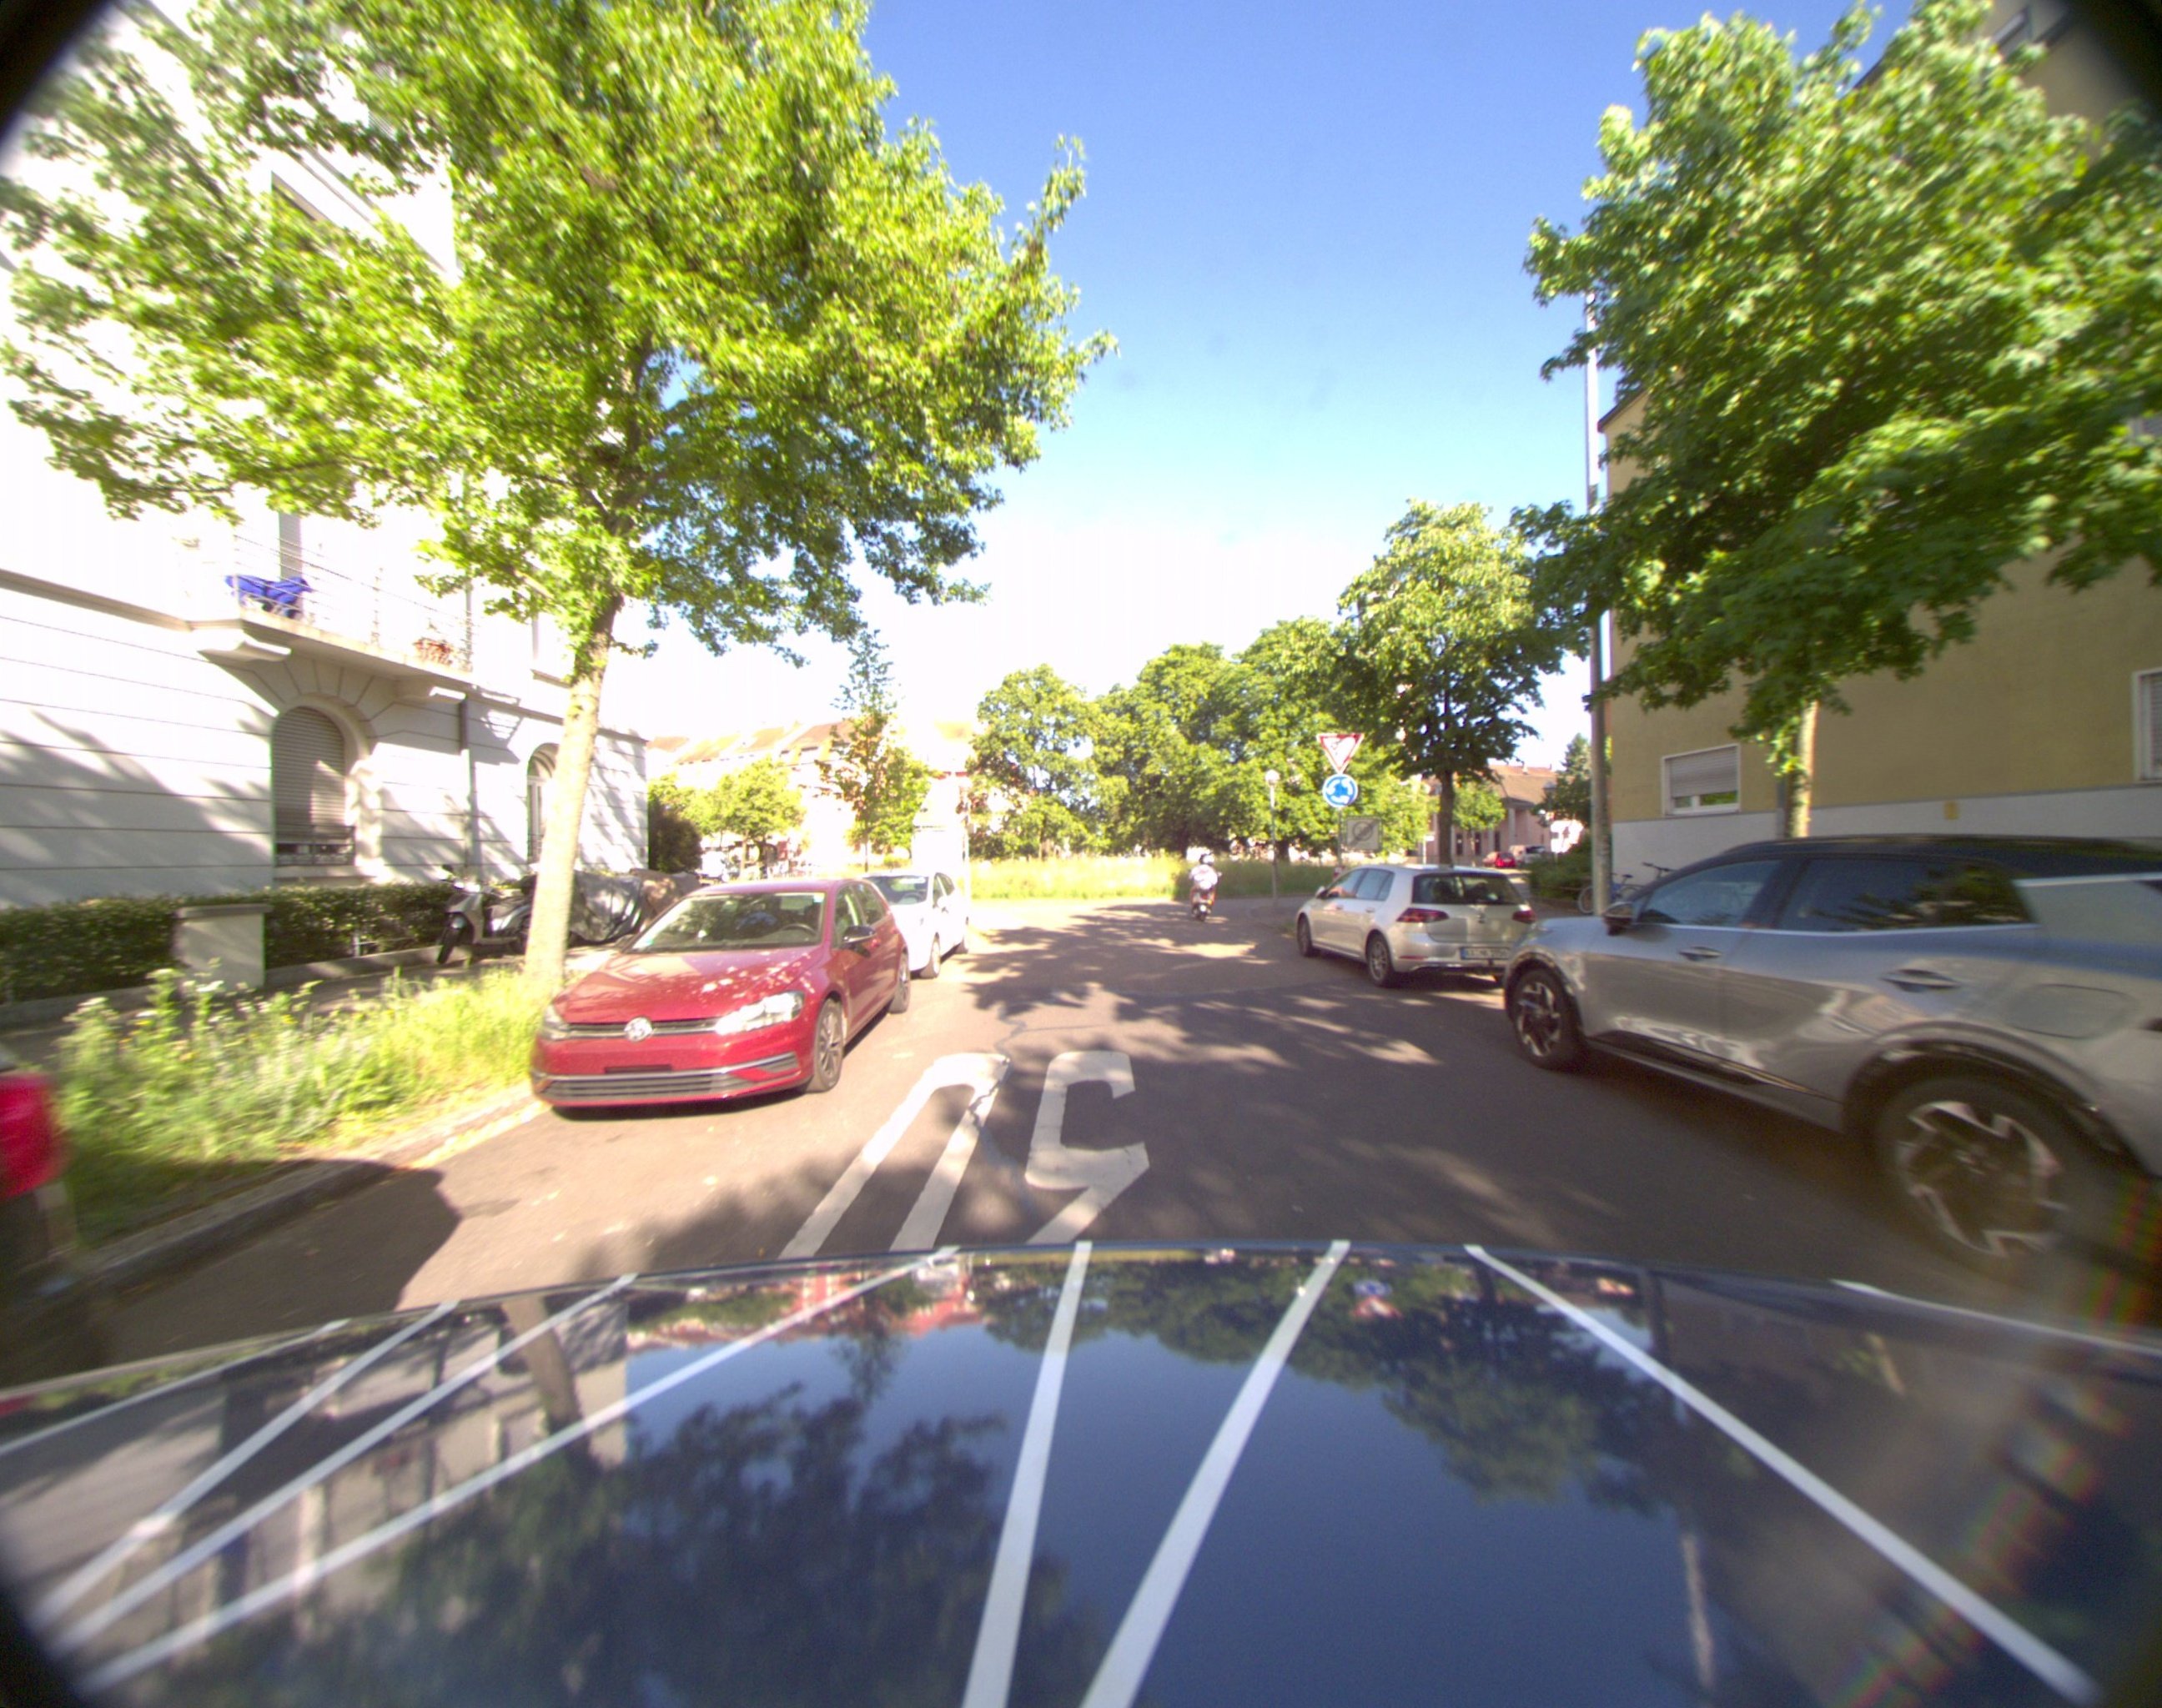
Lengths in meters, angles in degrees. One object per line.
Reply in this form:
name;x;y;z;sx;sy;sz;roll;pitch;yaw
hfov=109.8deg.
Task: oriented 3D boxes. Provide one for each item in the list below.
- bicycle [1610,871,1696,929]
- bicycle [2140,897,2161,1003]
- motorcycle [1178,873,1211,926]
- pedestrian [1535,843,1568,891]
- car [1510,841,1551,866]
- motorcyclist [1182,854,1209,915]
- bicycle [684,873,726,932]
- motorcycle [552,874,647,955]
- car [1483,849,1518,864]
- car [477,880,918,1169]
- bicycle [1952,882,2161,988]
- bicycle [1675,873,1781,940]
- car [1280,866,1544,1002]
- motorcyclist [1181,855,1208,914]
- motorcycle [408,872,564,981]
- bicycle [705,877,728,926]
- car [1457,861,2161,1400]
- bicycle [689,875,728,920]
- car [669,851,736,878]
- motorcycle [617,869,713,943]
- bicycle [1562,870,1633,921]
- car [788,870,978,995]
bicycle;10.682;0.839;14.256;0.476;0.995;1.545;-1;0;2
bicycle;10.513;0.916;6.609;0.516;0.995;1.545;-1;0;5
motorcycle;2.721;1.068;18.356;0.554;1.168;1.632;-1;0;1
pedestrian;16.024;0.435;25.897;0.696;1.606;0.665;-1;0;3
car;38.138;-0.061;64.515;1.996;2.002;4.005;-1;0;16
motorcyclist;2.695;0.710;17.862;0.545;1.418;0.404;-1;1;1
bicycle;-8.587;1.076;17.395;0.326;1.231;1.502;-1;1;-6
motorcycle;-8.376;1.014;13.312;0.658;1.272;1.799;1;0;-5
car;35.379;0.190;64.118;1.766;1.171;4.005;-1;0;16
car;-2.561;1.008;6.346;1.615;1.401;4.350;-1;0;-3
bicycle;10.609;0.830;8.274;0.512;0.995;1.545;-1;0;2
bicycle;10.653;0.835;12.572;0.454;0.995;1.545;-1;0;2
car;4.213;0.918;10.453;1.764;1.433;3.993;-1;0;-2
motorcyclist;2.729;0.715;18.344;0.554;1.394;0.520;-1;1;1
motorcycle;-8.464;0.970;10.951;0.540;1.353;2.089;-1;0;1
bicycle;-9.076;1.159;18.942;0.352;1.097;1.569;-1;1;-20
car;4.039;0.840;4.034;1.696;1.555;4.735;-1;0;0
bicycle;-10.073;1.145;20.516;0.445;1.142;1.774;-1;0;-42
car;-34.249;0.930;68.895;5.198;2.348;2.034;-1;0;-20
motorcycle;-8.254;0.996;15.180;0.973;1.321;1.852;-1;0;-4
bicycle;10.769;0.845;15.898;0.477;0.995;1.545;-1;0;2
car;-2.661;0.986;11.187;1.657;1.394;4.135;-1;0;0
